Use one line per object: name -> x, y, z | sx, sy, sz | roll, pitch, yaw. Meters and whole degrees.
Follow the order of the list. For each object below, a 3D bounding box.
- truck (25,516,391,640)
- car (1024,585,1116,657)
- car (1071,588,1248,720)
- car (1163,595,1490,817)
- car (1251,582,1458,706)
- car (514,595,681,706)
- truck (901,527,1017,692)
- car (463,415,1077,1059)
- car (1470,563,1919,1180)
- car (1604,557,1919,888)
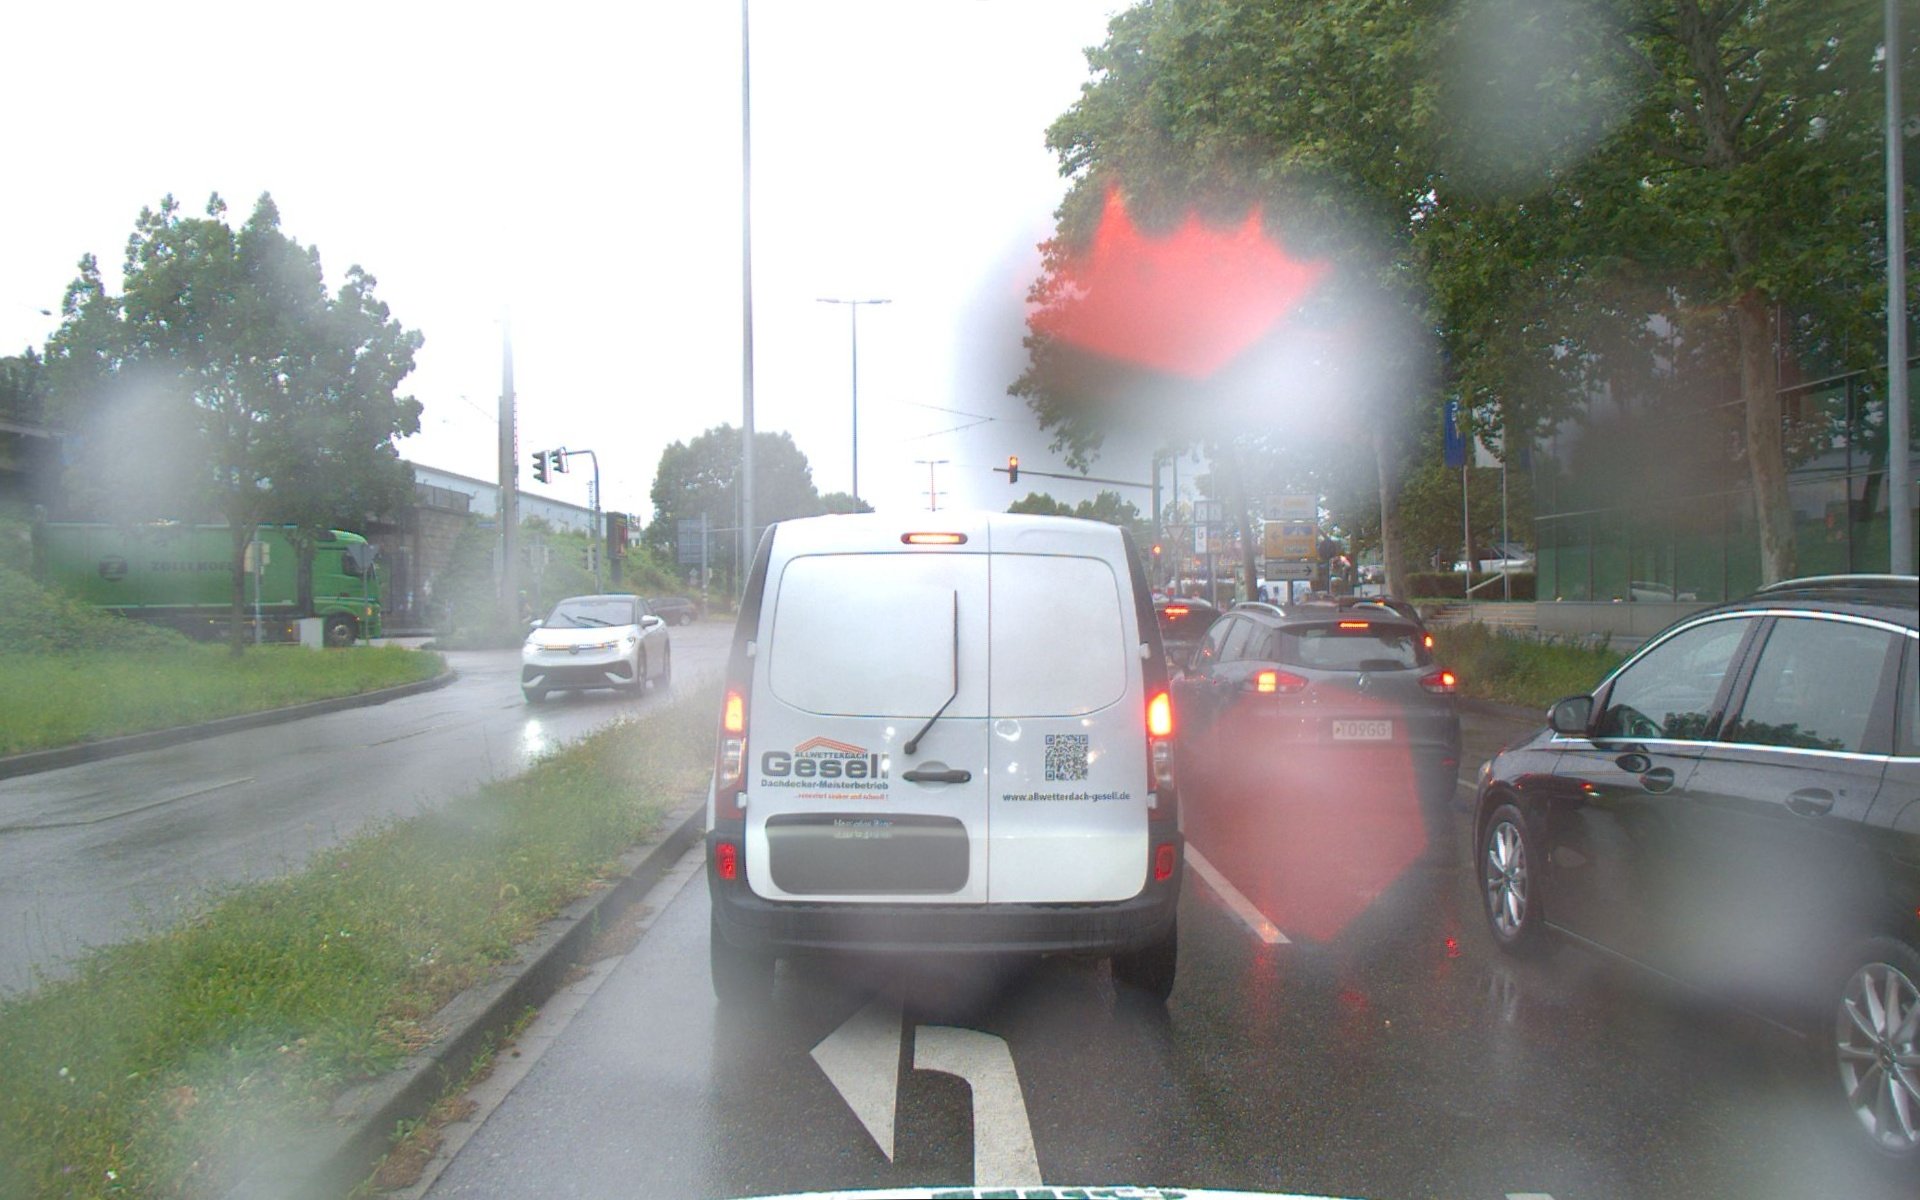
truck -> -23.190, -0.525, 51.531 | 10.037, 3.512, 2.622 | 1, -2, -38
car -> 2.344, 0.409, 36.089 | 1.677, 1.470, 3.999 | 0, 1, -1
car -> 2.391, 0.594, 20.697 | 1.677, 1.470, 3.999 | 0, 1, -1
car -> 2.735, 0.712, 13.228 | 1.677, 1.470, 3.999 | 0, 1, -1
car -> 5.440, 0.575, 23.323 | 1.802, 1.563, 4.110 | 1, 0, -2
car -> -5.858, 0.757, 27.220 | 1.923, 1.551, 4.332 | -2, 1, -3
truck -> -0.090, 0.153, 27.152 | 1.721, 2.509, 3.998 | 0, 0, -3
car -> -0.688, 0.408, 7.313 | 1.953, 2.049, 3.998 | 0, 1, -3
car -> 3.235, 0.674, 5.527 | 1.674, 1.577, 3.998 | 0, 1, -3
car -> 5.933, 0.664, 10.649 | 1.819, 1.756, 4.188 | 0, 0, -2
